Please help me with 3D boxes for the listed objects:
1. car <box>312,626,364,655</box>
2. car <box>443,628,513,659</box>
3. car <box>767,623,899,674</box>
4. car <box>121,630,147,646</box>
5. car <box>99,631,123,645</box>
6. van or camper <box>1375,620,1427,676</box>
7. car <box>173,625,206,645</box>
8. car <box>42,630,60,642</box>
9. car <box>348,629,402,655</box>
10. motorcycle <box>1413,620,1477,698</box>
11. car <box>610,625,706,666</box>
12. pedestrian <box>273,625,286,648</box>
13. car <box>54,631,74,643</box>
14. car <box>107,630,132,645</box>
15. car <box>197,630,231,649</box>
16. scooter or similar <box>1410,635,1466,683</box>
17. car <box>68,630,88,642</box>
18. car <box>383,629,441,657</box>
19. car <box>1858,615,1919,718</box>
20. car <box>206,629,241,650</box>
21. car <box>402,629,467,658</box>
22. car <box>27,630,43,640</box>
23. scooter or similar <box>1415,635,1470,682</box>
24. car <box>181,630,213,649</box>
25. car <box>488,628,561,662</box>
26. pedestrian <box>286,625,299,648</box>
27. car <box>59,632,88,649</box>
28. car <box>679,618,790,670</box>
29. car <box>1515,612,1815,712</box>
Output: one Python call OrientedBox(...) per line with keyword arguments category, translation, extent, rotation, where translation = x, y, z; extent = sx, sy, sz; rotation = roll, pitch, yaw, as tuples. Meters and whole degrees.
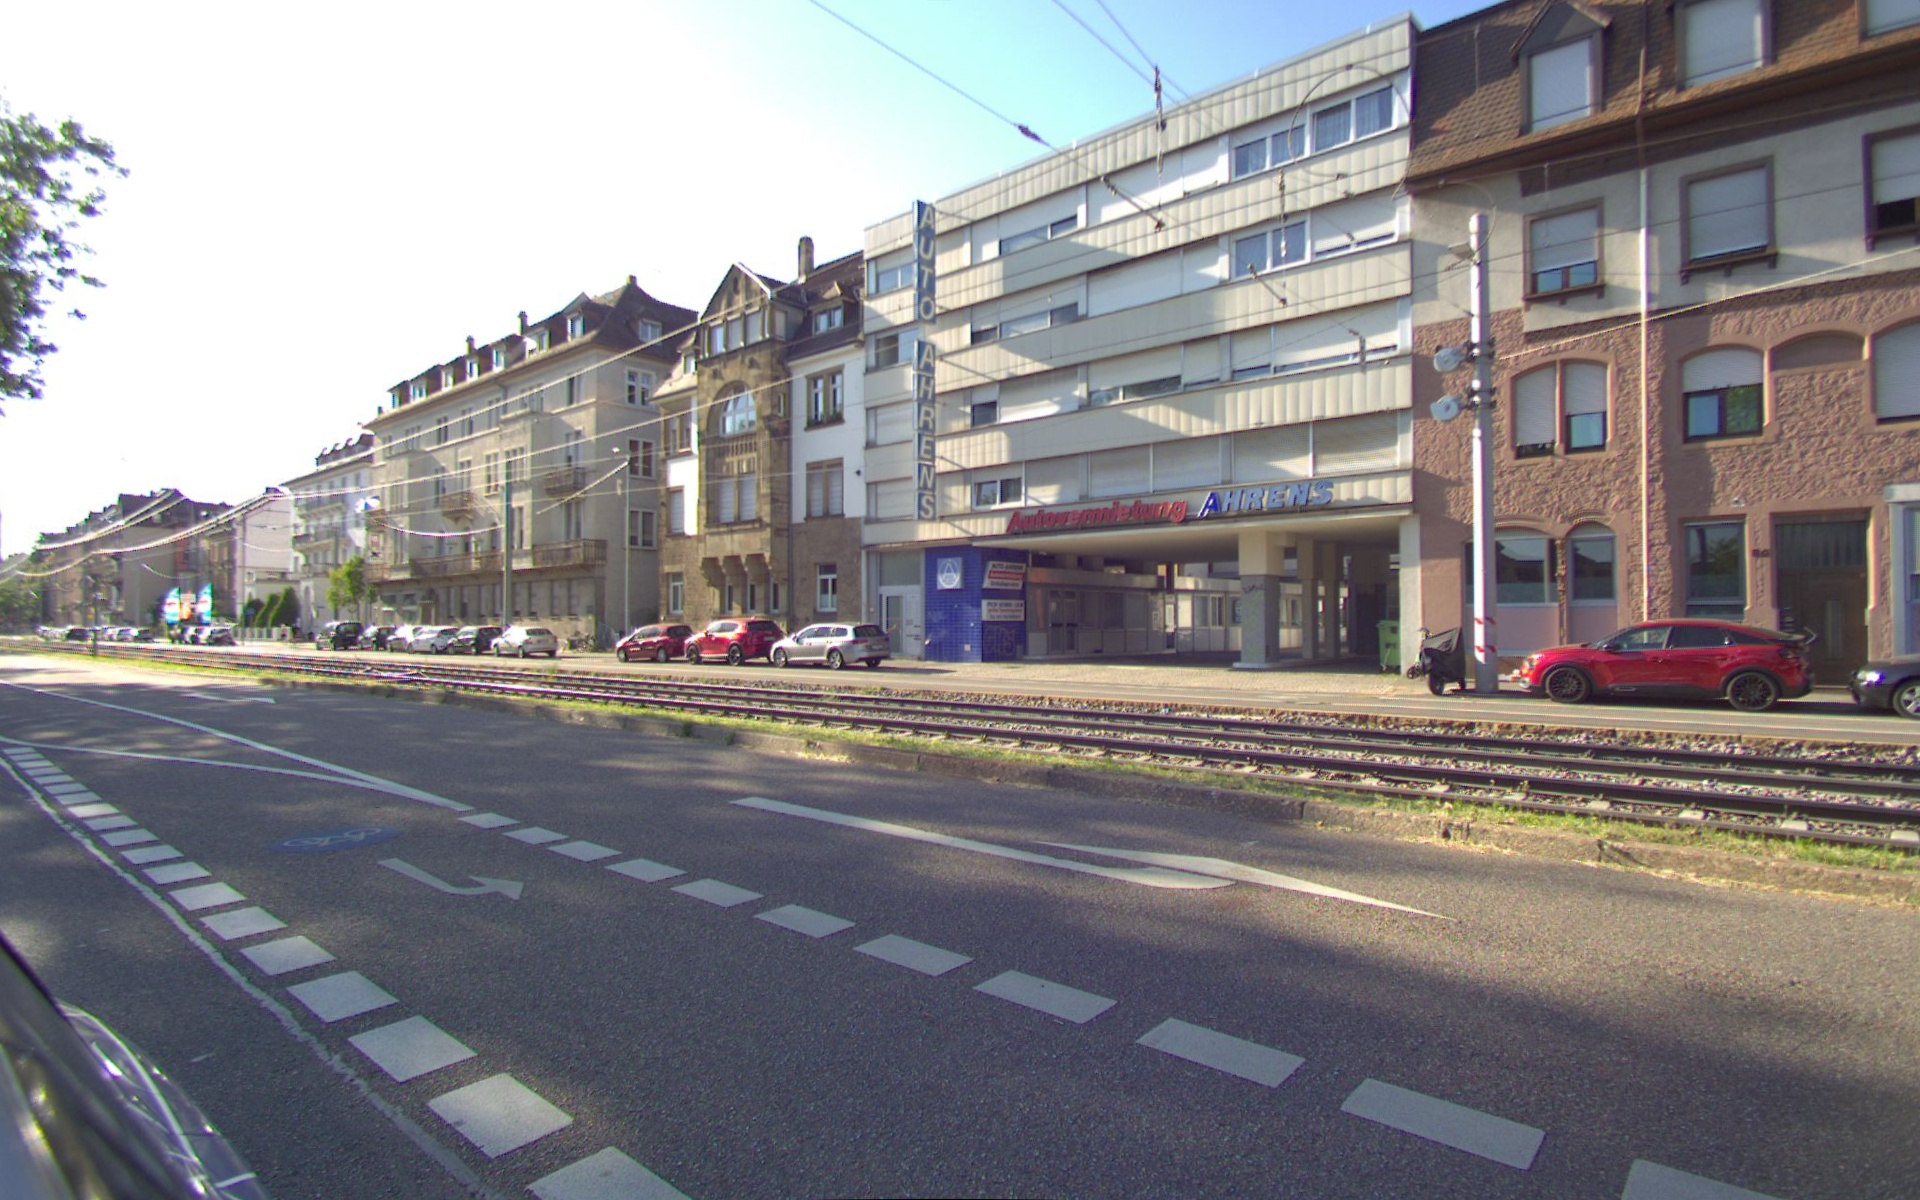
OrientedBox(category="car", translation=(-40.189, 2.579, 65.385), extent=(3.914, 1.750, 1.851), rotation=(-2, -1, 42))
OrientedBox(category="car", translation=(-24.689, 2.213, 51.797), extent=(3.820, 1.441, 1.779), rotation=(-2, -1, 40))
OrientedBox(category="car", translation=(-4.225, 1.550, 33.259), extent=(4.379, 1.510, 1.837), rotation=(-2, 0, 41))
OrientedBox(category="car", translation=(-87.115, 3.994, 106.732), extent=(3.449, 1.602, 1.603), rotation=(-2, -1, 42))
OrientedBox(category="car", translation=(-97.806, 4.365, 116.565), extent=(3.449, 1.602, 1.603), rotation=(-2, -1, 42))
OrientedBox(category="van or camper", translation=(11.247, 1.213, 25.807), extent=(0.803, 1.368, 1.409), rotation=(-2, -2, 41))
OrientedBox(category="car", translation=(-71.386, 3.251, 93.770), extent=(3.879, 1.800, 1.705), rotation=(-2, -1, 42))
OrientedBox(category="car", translation=(-133.418, 5.296, 148.567), extent=(3.449, 1.602, 1.603), rotation=(-2, -1, 42))
OrientedBox(category="car", translation=(-35.814, 2.552, 61.957), extent=(3.822, 1.490, 1.778), rotation=(-2, -1, 42))
OrientedBox(category="motorcycle", translation=(9.879, 1.172, 20.580), extent=(0.628, 1.433, 1.835), rotation=(-3, -1, 41))
OrientedBox(category="car", translation=(-12.031, 1.809, 40.248), extent=(3.722, 1.507, 1.736), rotation=(-2, 0, 36))
OrientedBox(category="pedestrian", translation=(-54.967, 2.952, 81.762), extent=(0.677, 1.803, 0.716), rotation=(-2, -3, 41))
OrientedBox(category="car", translation=(-125.405, 5.159, 141.630), extent=(3.449, 1.602, 1.603), rotation=(-2, -1, 42))
OrientedBox(category="car", translation=(-93.899, 4.219, 113.075), extent=(3.449, 1.602, 1.603), rotation=(-2, -1, 42))
OrientedBox(category="car", translation=(-63.850, 3.362, 86.620), extent=(3.387, 1.583, 1.662), rotation=(-2, -1, 42))
OrientedBox(category="scooter or similar", translation=(10.987, 1.351, 23.270), extent=(1.121, 1.077, 0.202), rotation=(-2, -1, 42))
OrientedBox(category="car", translation=(-119.365, 4.858, 136.955), extent=(3.449, 1.602, 1.603), rotation=(-2, -1, 42))
OrientedBox(category="car", translation=(-31.421, 2.439, 57.971), extent=(3.822, 1.490, 1.778), rotation=(-2, -1, 42))
OrientedBox(category="car", translation=(15.800, 0.964, 14.789), extent=(3.925, 1.448, 1.678), rotation=(-2, 1, 41))
OrientedBox(category="car", translation=(-60.160, 3.211, 82.625), extent=(3.407, 1.644, 1.655), rotation=(-2, -1, 42))
OrientedBox(category="car", translation=(-28.197, 2.302, 54.237), extent=(3.531, 1.457, 1.624), rotation=(-2, -1, 35))
OrientedBox(category="car", translation=(-152.915, 5.708, 167.286), extent=(3.449, 1.602, 1.603), rotation=(-2, -1, 42))
OrientedBox(category="scooter or similar", translation=(11.179, 1.345, 23.477), extent=(1.121, 1.077, 0.202), rotation=(-2, -1, 42))
OrientedBox(category="car", translation=(-67.845, 3.505, 89.951), extent=(3.387, 1.583, 1.662), rotation=(-2, -1, 42))
OrientedBox(category="car", translation=(-20.786, 2.133, 48.222), extent=(3.822, 1.490, 1.778), rotation=(-2, -1, 42))
OrientedBox(category="pedestrian", translation=(-54.202, 2.971, 82.153), extent=(0.677, 1.803, 0.716), rotation=(-2, -3, 41))
OrientedBox(category="car", translation=(-92.458, 4.217, 105.485), extent=(3.999, 1.697, 1.798), rotation=(-2, -2, 42))
OrientedBox(category="car", translation=(-8.229, 1.573, 36.757), extent=(4.262, 1.700, 1.836), rotation=(-2, 0, 43))
OrientedBox(category="car", translation=(12.503, 1.040, 18.090), extent=(4.208, 1.510, 1.837), rotation=(-2, 1, 41))
